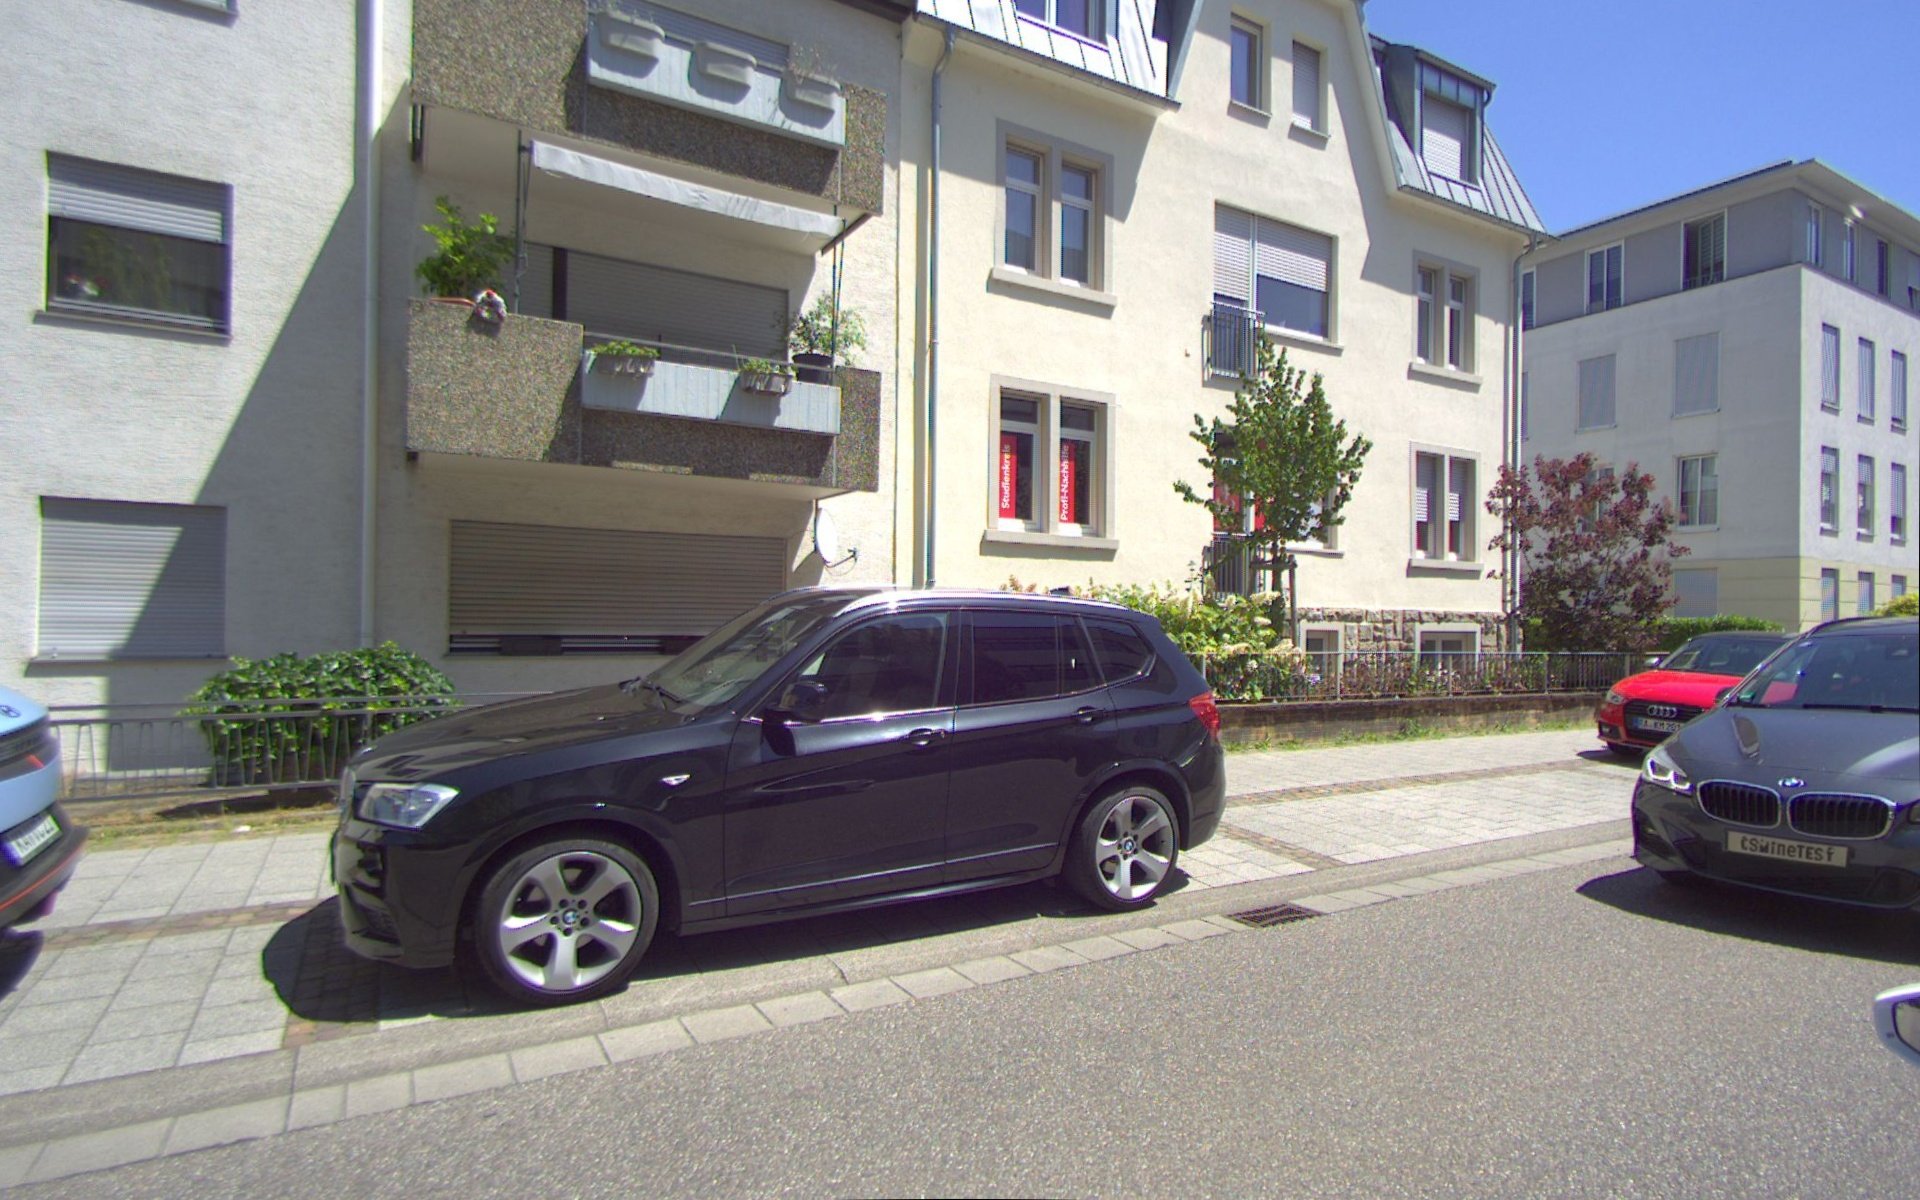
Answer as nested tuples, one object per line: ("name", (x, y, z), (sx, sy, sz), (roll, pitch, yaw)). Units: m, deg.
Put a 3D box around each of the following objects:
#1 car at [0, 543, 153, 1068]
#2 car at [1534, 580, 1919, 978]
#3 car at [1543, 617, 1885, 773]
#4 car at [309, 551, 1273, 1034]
("car", (-5.355, 0.541, 2.755), (4.603, 1.594, 1.917), (2, 2, -30))
("car", (5.649, 0.822, 6.018), (4.421, 1.693, 1.964), (2, -1, -31))
("car", (8.671, 0.994, 11.506), (3.857, 1.438, 1.642), (2, 2, -29))
("car", (-0.649, 0.679, 5.288), (4.516, 1.641, 1.717), (2, 2, -30))
